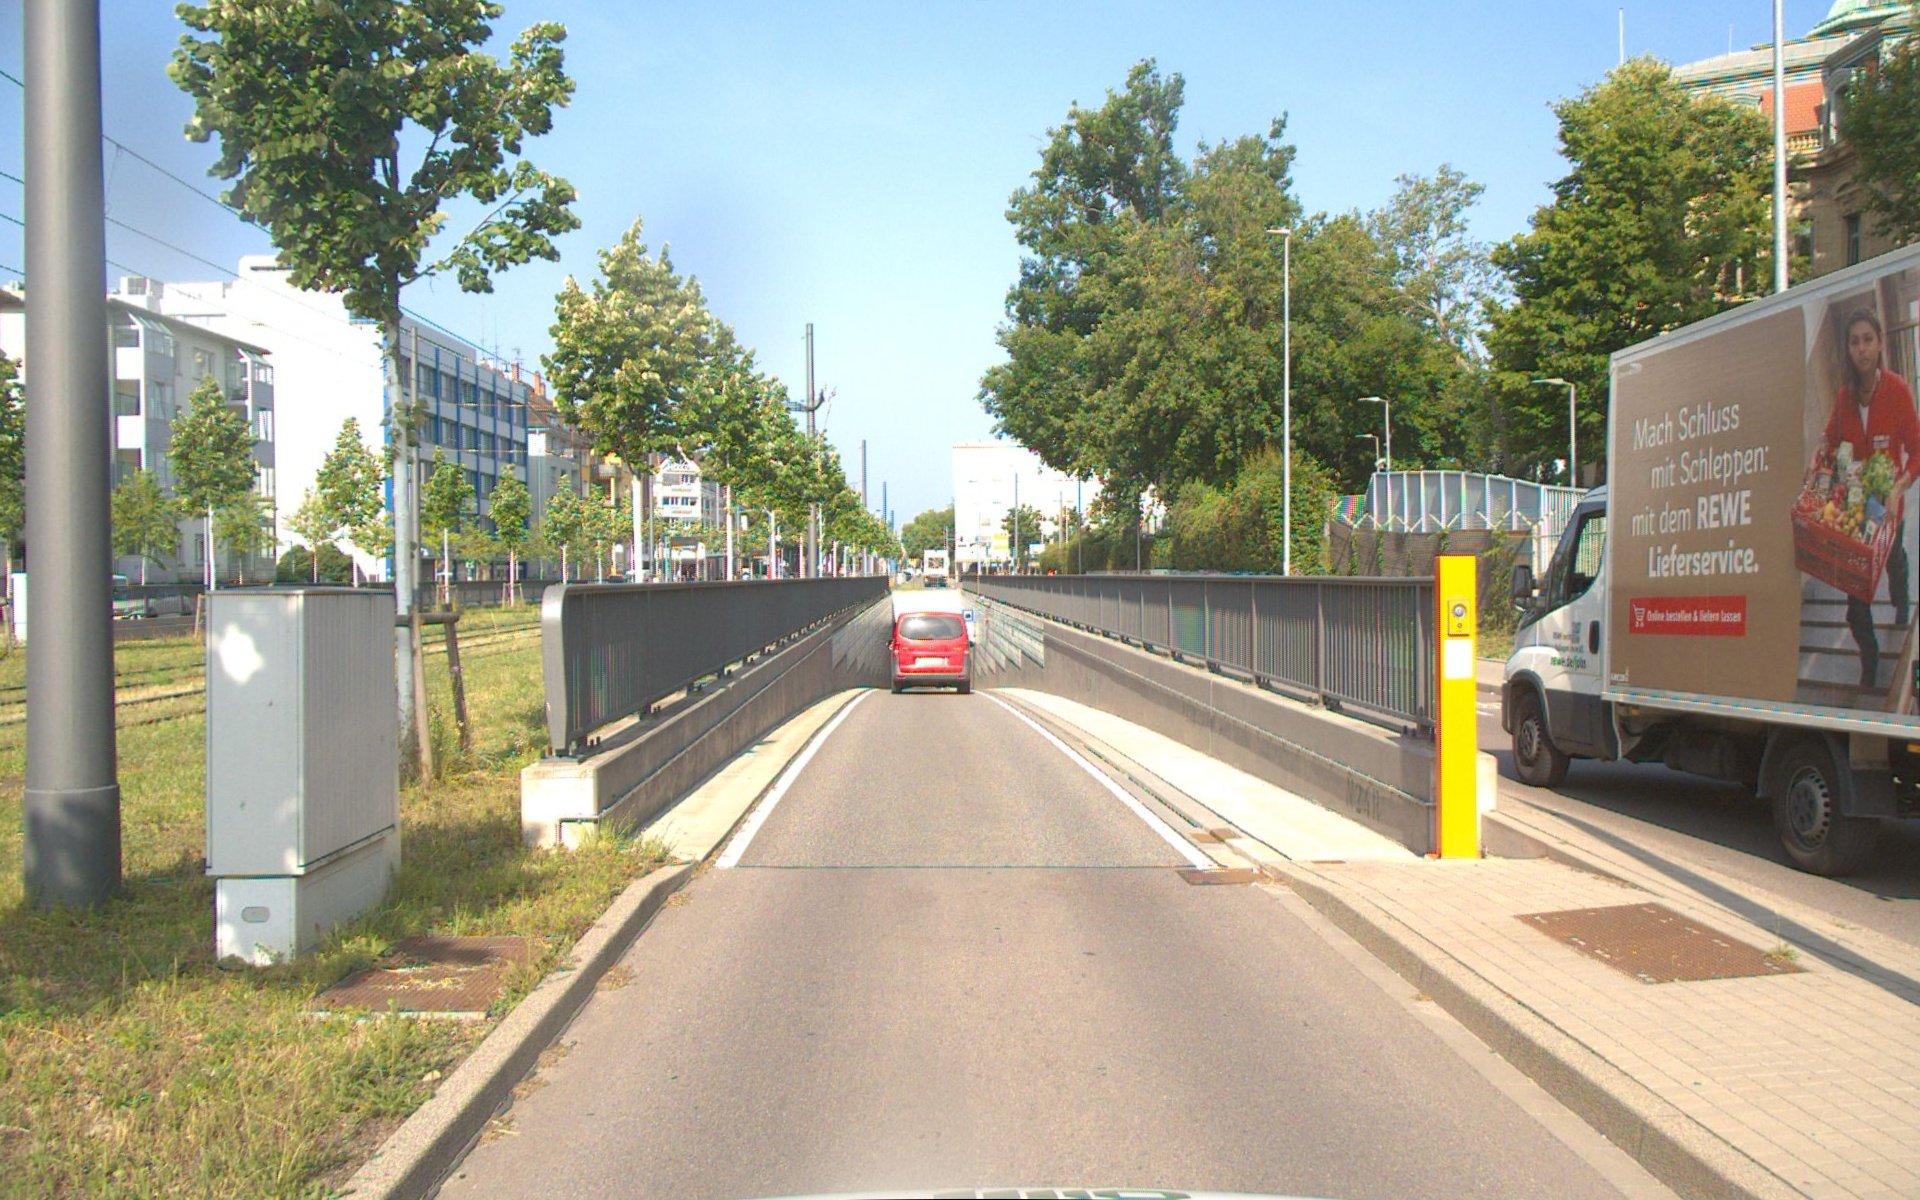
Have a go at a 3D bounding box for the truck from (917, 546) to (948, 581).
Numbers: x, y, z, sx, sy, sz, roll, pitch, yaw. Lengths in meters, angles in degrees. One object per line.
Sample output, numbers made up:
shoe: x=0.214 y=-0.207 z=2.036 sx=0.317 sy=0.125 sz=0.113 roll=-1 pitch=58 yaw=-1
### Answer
truck: x=-3.117 y=-3.993 z=183.438 sx=3.322 sy=3.791 sz=10.448 roll=-1 pitch=1 yaw=-2

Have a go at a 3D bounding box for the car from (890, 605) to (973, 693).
car: x=-0.632 y=1.124 z=39.590 sx=1.862 sy=1.892 sz=4.000 roll=1 pitch=1 yaw=0

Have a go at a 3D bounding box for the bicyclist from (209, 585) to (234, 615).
bicyclist: x=-30.674 y=-0.012 z=68.715 sx=0.521 sy=1.199 sz=1.251 roll=1 pitch=2 yaw=-3

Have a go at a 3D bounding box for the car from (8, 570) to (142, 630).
car: x=-32.474 y=0.055 z=60.908 sx=2.204 sy=2.049 sz=5.260 roll=2 pitch=-1 yaw=-3

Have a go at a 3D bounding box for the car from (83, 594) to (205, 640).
car: x=-27.619 y=0.581 z=56.143 sx=1.953 sy=1.492 sz=4.437 roll=0 pitch=-1 yaw=-1

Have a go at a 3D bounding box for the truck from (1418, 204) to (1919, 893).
truck: x=5.429 y=-0.231 z=10.595 sx=2.452 sy=3.114 sz=7.816 roll=2 pitch=0 yaw=-3
